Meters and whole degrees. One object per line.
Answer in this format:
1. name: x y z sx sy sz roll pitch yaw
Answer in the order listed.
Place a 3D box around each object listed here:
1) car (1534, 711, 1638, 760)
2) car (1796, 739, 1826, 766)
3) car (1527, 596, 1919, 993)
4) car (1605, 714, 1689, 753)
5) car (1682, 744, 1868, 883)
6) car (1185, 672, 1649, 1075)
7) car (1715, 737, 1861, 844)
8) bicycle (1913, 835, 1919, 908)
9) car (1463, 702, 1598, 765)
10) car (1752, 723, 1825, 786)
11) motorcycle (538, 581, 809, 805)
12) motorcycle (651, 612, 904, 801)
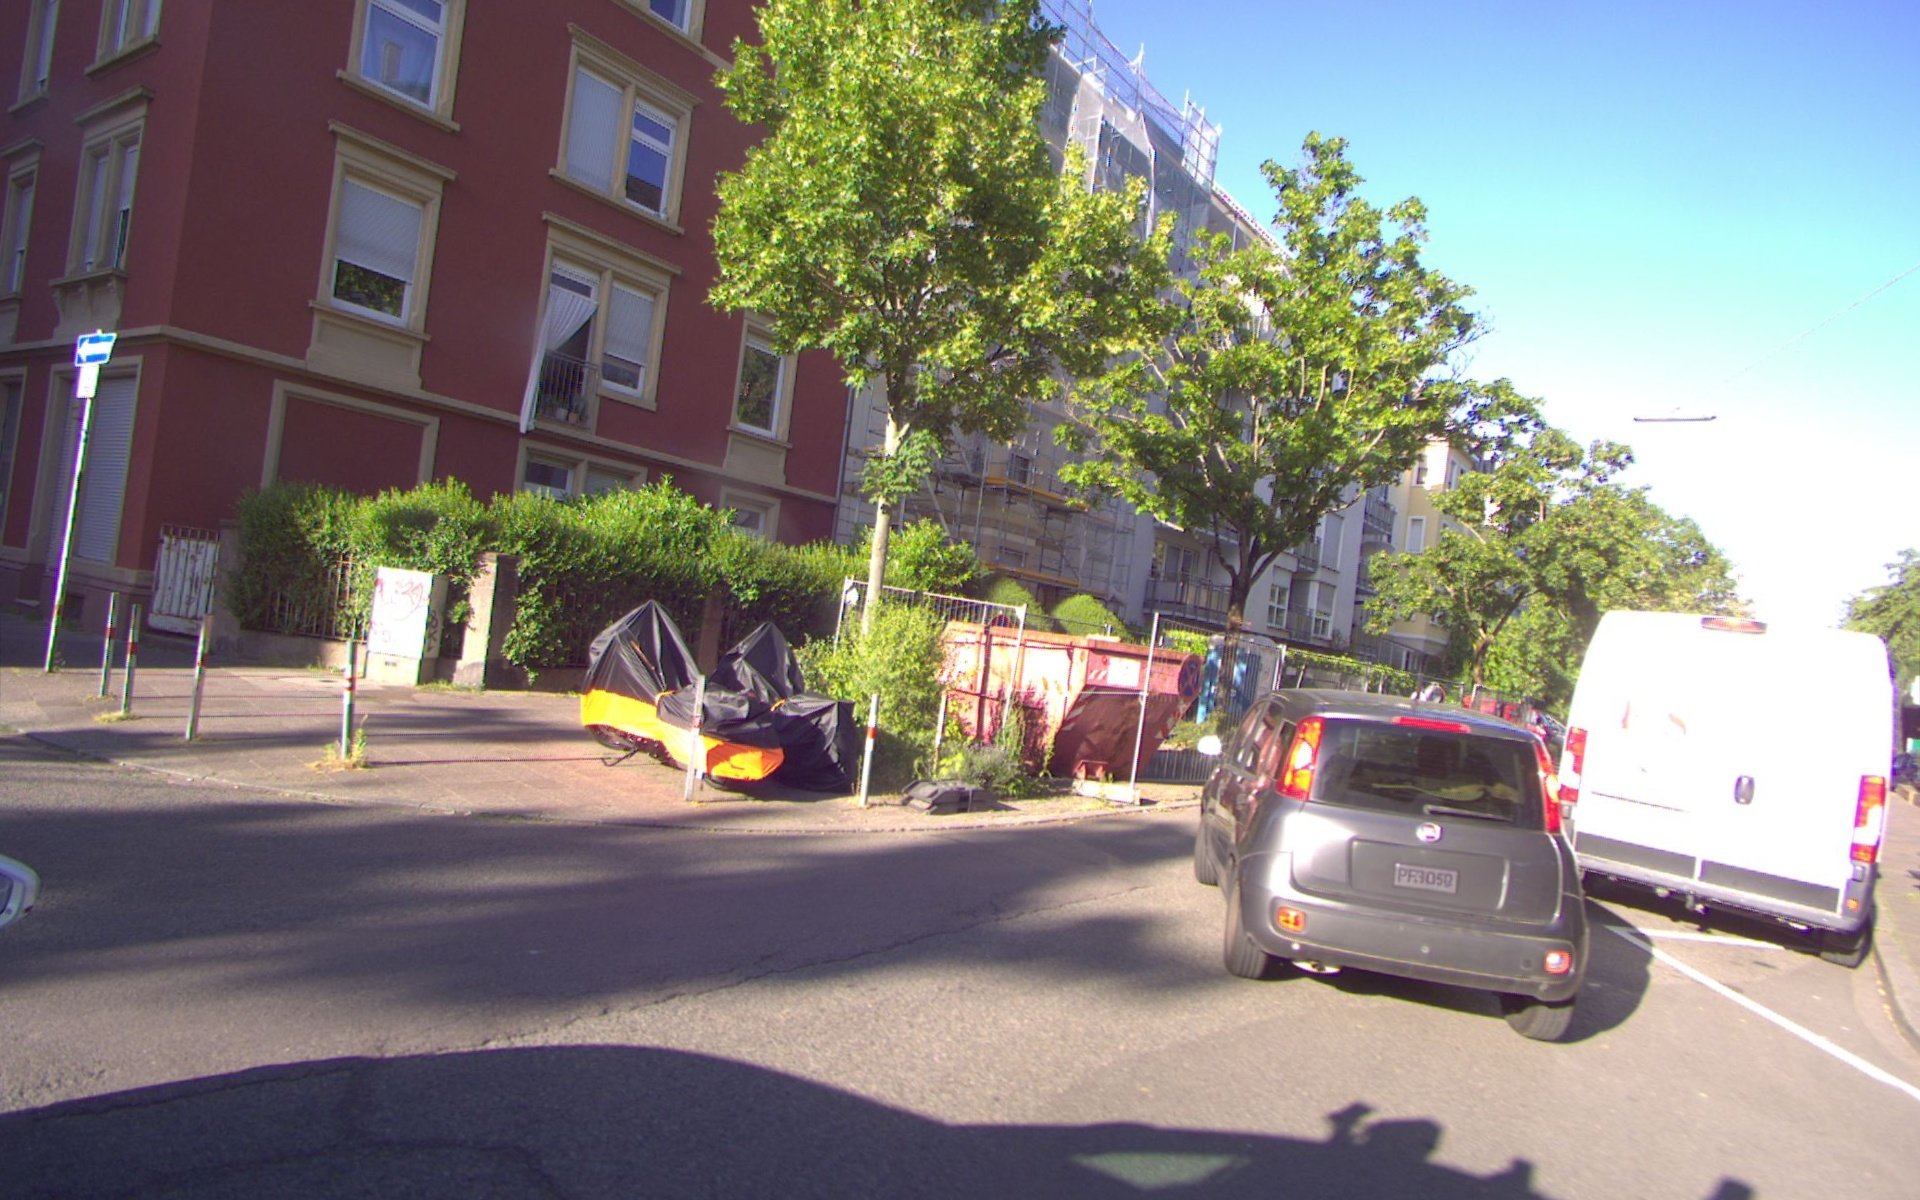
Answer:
1. car: 29.655 6.413 47.716 3.940 1.682 1.722 6 -2 37
2. car: 82.062 14.662 96.971 1.972 2.227 3.983 6 -2 41
3. car: 7.401 1.596 9.562 2.273 2.496 5.642 6 -2 41
4. car: 40.676 7.864 59.588 3.939 1.682 1.722 6 -2 37
5. car: 11.792 2.962 14.620 1.764 1.455 3.986 5 -3 39
6. car: 2.381 1.302 6.187 1.608 1.500 3.538 7 -2 10
7. car: 14.934 3.363 18.336 1.763 1.439 4.207 6 -3 37
8. bicycle: 10.785 2.662 10.960 0.467 1.305 1.861 6 -3 45
9. car: 21.633 5.047 38.205 4.120 1.664 1.997 5 -5 38
10. car: 35.485 6.580 43.115 2.109 2.220 5.319 6 -3 40
11. motorcycle: -2.615 0.752 8.942 2.585 1.543 0.871 7 -1 41
12. motorcycle: -1.811 0.958 9.668 2.507 1.421 0.868 5 -2 40
